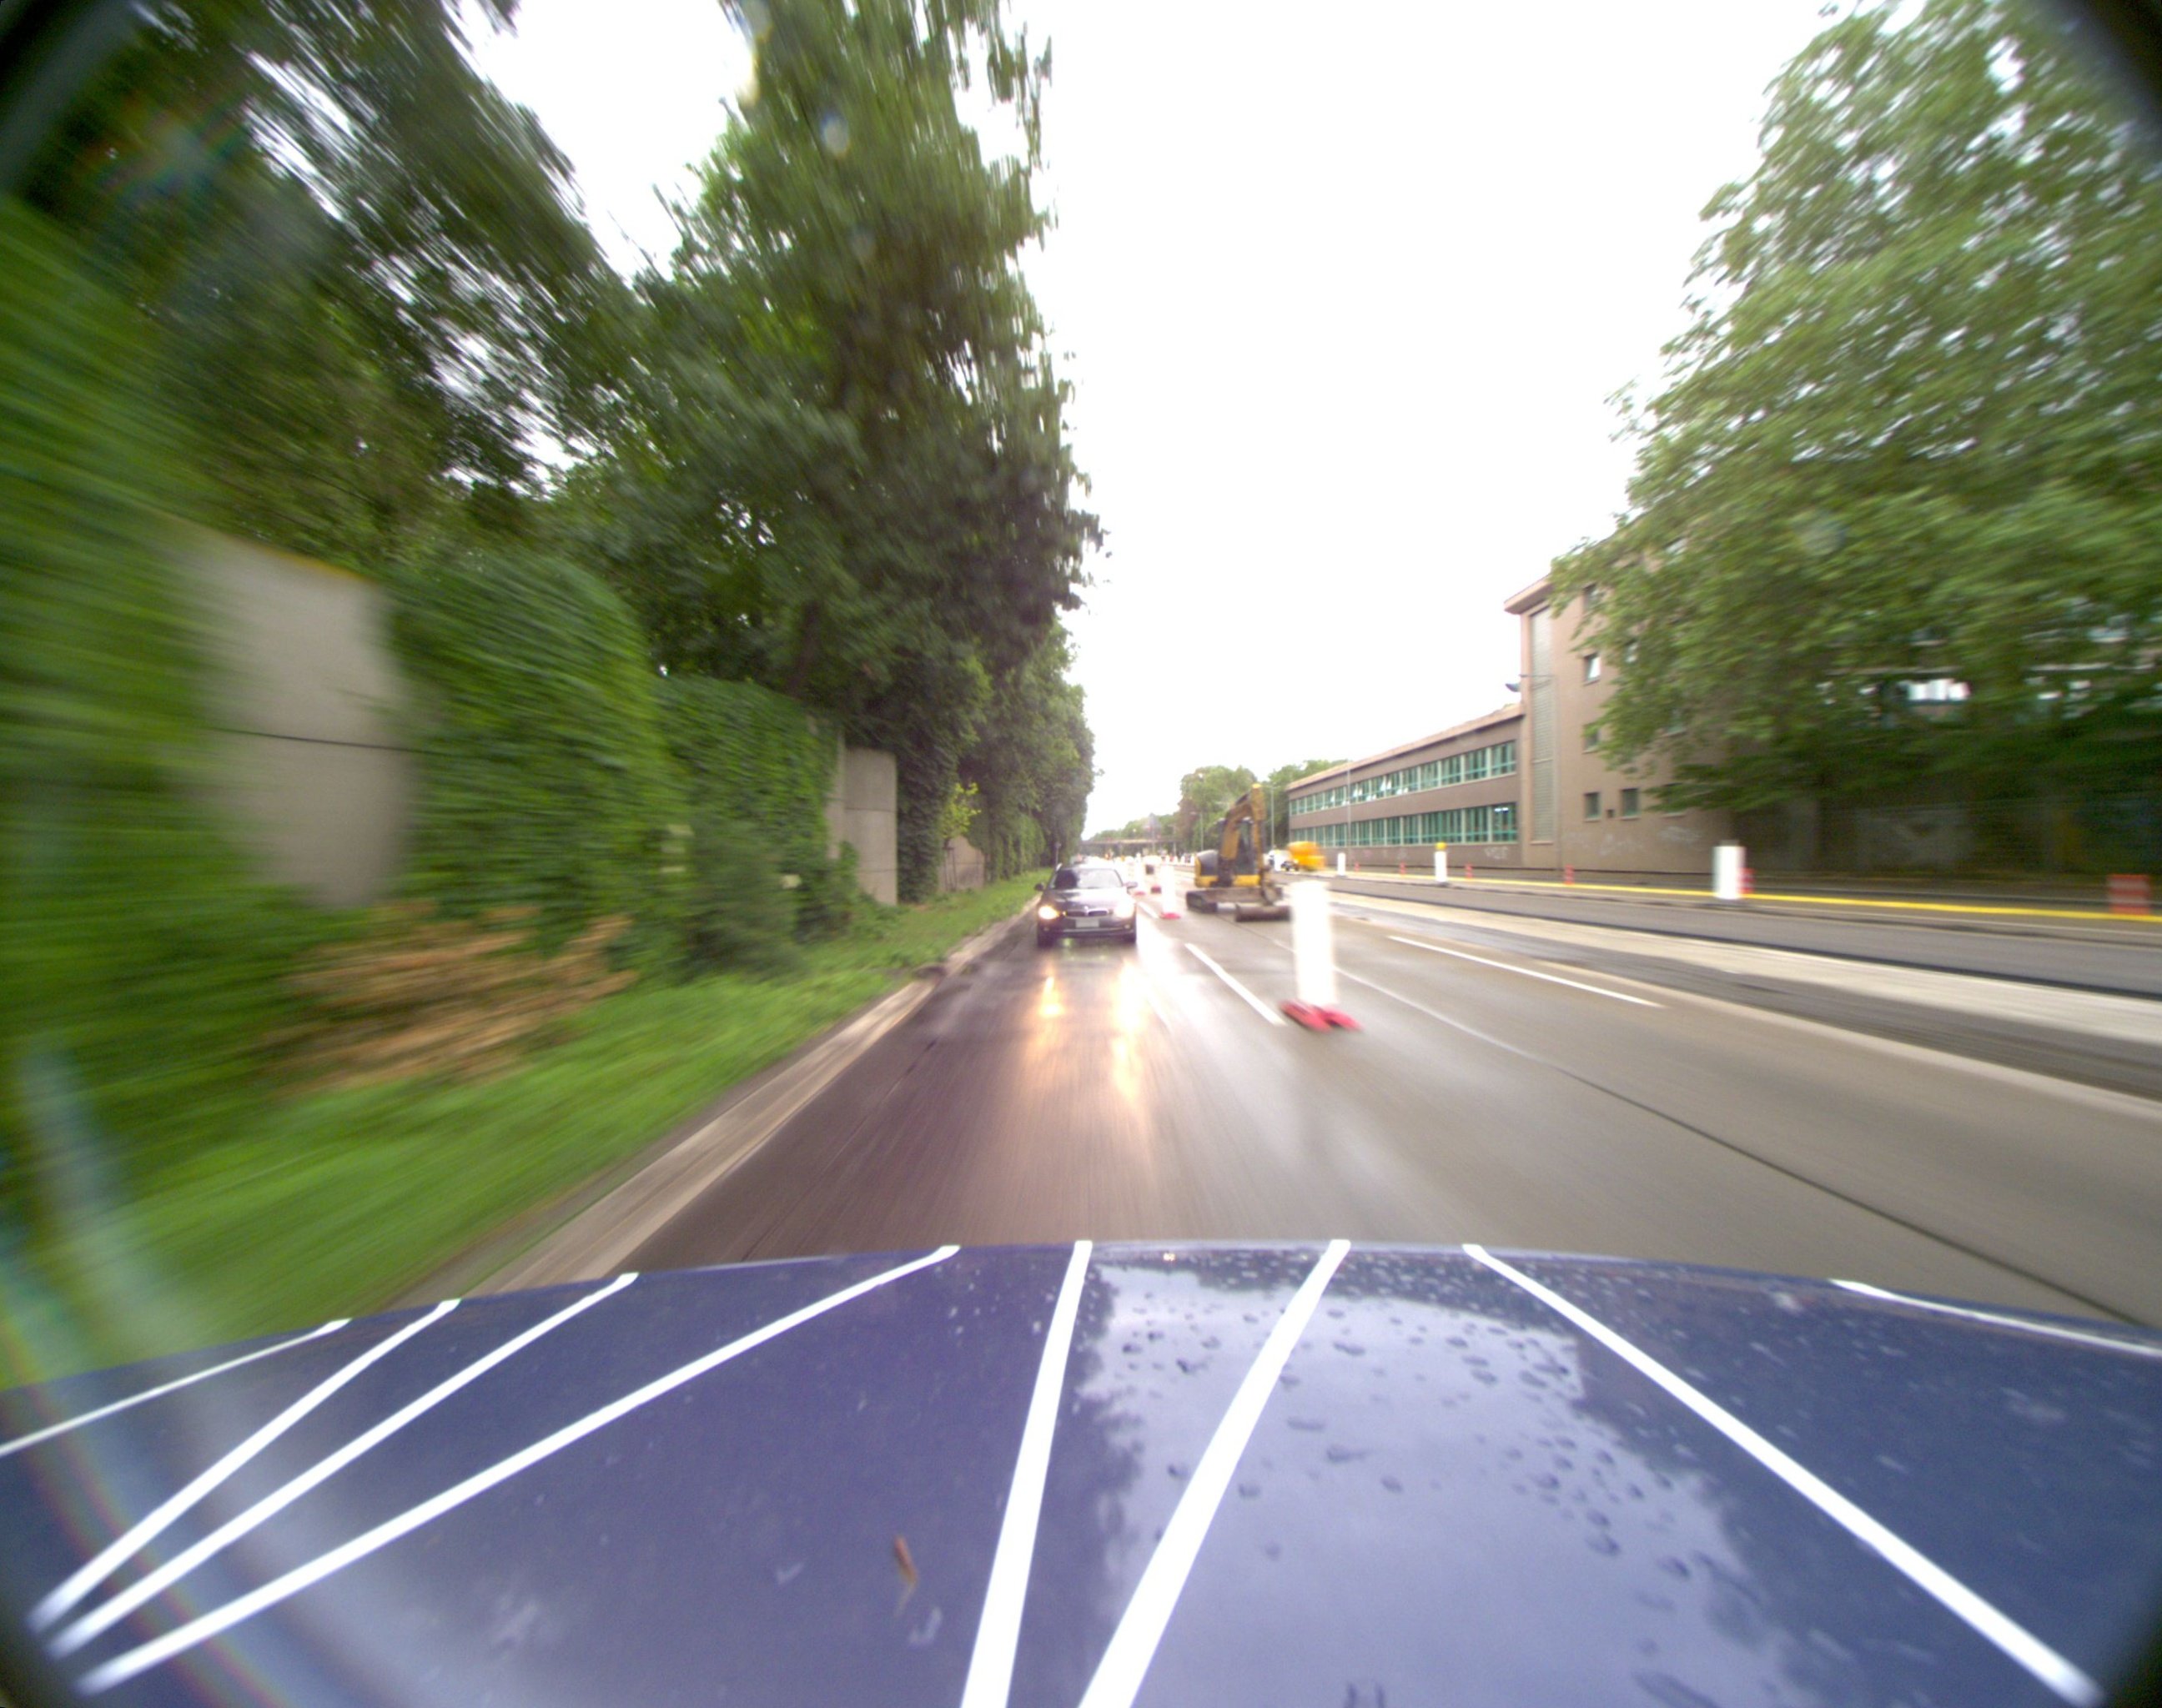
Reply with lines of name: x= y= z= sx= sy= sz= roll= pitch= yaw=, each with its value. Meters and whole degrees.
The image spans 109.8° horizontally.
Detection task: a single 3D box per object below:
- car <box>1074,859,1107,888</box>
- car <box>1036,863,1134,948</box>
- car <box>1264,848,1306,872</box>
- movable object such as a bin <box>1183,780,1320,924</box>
car: x=0.572 y=1.079 z=43.224 sx=1.742 sy=1.454 sz=4.458 roll=-1 pitch=0 yaw=1
car: x=0.105 y=0.963 z=16.044 sx=1.742 sy=1.454 sz=4.458 roll=-1 pitch=0 yaw=1
car: x=16.189 y=0.506 z=60.468 sx=1.998 sy=1.695 sz=4.985 roll=3 pitch=-1 yaw=1
movable object such as a bin: x=4.099 y=-0.049 z=19.366 sx=1.999 sy=3.084 sz=5.623 roll=-1 pitch=0 yaw=-2
